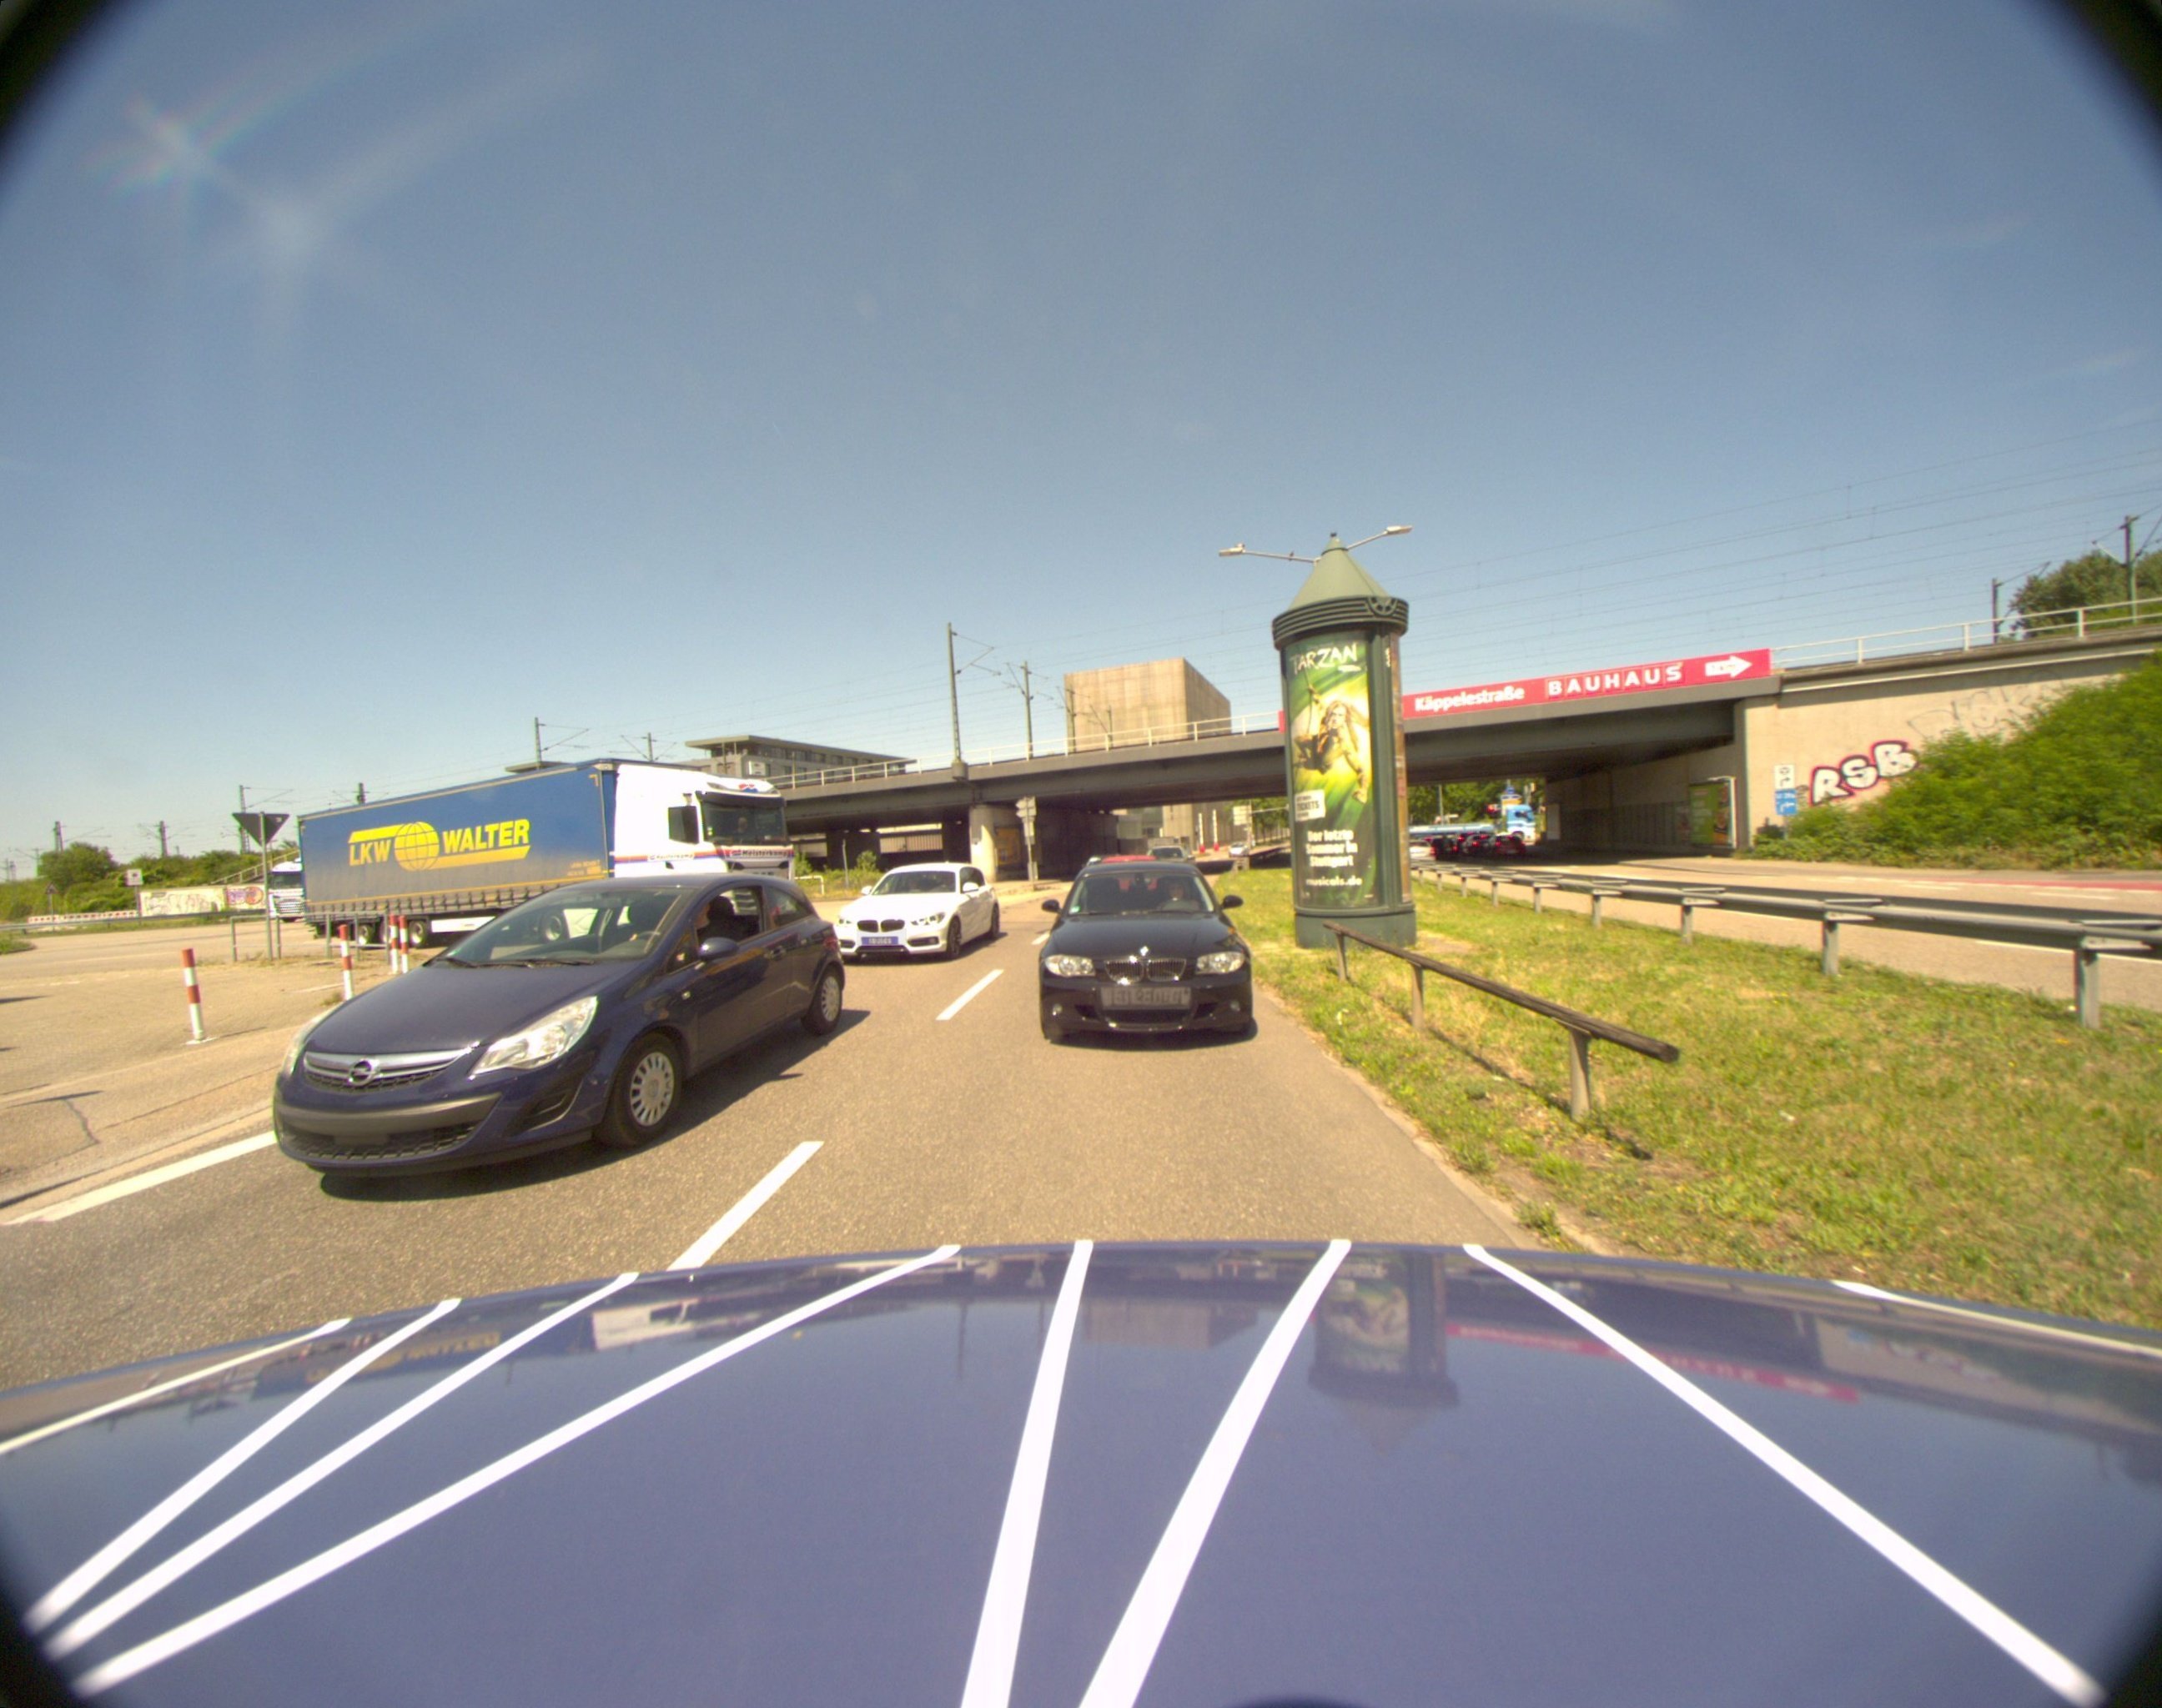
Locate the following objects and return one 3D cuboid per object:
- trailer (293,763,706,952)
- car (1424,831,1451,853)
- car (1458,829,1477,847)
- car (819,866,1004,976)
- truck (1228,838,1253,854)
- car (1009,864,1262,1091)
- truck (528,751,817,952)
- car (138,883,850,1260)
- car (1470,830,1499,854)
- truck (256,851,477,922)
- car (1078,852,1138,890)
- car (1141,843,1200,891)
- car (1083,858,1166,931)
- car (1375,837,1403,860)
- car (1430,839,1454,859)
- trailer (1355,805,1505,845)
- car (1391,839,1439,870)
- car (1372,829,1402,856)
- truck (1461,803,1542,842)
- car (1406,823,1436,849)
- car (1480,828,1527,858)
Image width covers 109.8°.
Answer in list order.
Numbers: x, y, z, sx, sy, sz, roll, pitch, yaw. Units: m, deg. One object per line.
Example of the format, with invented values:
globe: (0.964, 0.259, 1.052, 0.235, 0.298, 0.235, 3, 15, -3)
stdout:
trailer: (-16.099, 0.373, 20.401, 13.872, 4.066, 2.504, -3, 1, 25)
car: (25.211, -0.880, 53.656, 1.617, 1.468, 3.438, -2, 1, 26)
car: (29.359, -1.236, 57.691, 1.183, 1.241, 2.696, -2, 1, 26)
car: (-2.569, 0.961, 12.579, 1.762, 1.435, 4.054, 0, 0, 6)
truck: (16.911, -0.879, 80.619, 1.728, 1.493, 4.006, -2, 1, 24)
car: (0.533, 0.888, 7.248, 1.681, 1.409, 4.057, -2, 1, 5)
truck: (-9.425, 0.007, 17.627, 5.749, 4.078, 2.579, -2, 1, 21)
car: (-3.124, 1.020, 5.200, 1.650, 1.435, 3.892, -2, 0, 3)
car: (27.174, -0.822, 51.240, 1.571, 1.494, 3.412, -2, 1, 26)
truck: (-49.225, 1.903, 53.685, 2.754, 4.079, 17.420, -3, 1, -13)
car: (1.246, 0.706, 33.547, 1.715, 1.434, 4.004, -2, 1, 15)
car: (3.512, 0.453, 29.352, 1.844, 1.686, 3.702, -2, 1, 12)
car: (0.995, 0.822, 17.149, 1.646, 1.391, 4.053, -1, 0, 4)
car: (19.299, -0.351, 47.542, 1.410, 1.311, 3.266, -2, 1, 25)
car: (22.457, -0.316, 47.253, 1.268, 1.178, 2.782, -2, 1, 26)
trailer: (35.376, -2.846, 77.946, 2.971, 3.354, 13.856, -3, 1, -42)
car: (15.966, -0.022, 36.473, 1.636, 1.395, 4.226, -1, 1, 17)
car: (22.244, -0.863, 55.205, 1.904, 1.849, 4.005, -2, 1, 22)
truck: (40.505, -2.993, 73.420, 6.550, 3.398, 3.027, -2, 1, 23)
car: (26.451, -1.401, 59.178, 1.904, 1.849, 4.005, -2, 1, 22)
car: (25.375, -0.656, 45.708, 1.774, 1.658, 4.020, -2, 1, 19)
